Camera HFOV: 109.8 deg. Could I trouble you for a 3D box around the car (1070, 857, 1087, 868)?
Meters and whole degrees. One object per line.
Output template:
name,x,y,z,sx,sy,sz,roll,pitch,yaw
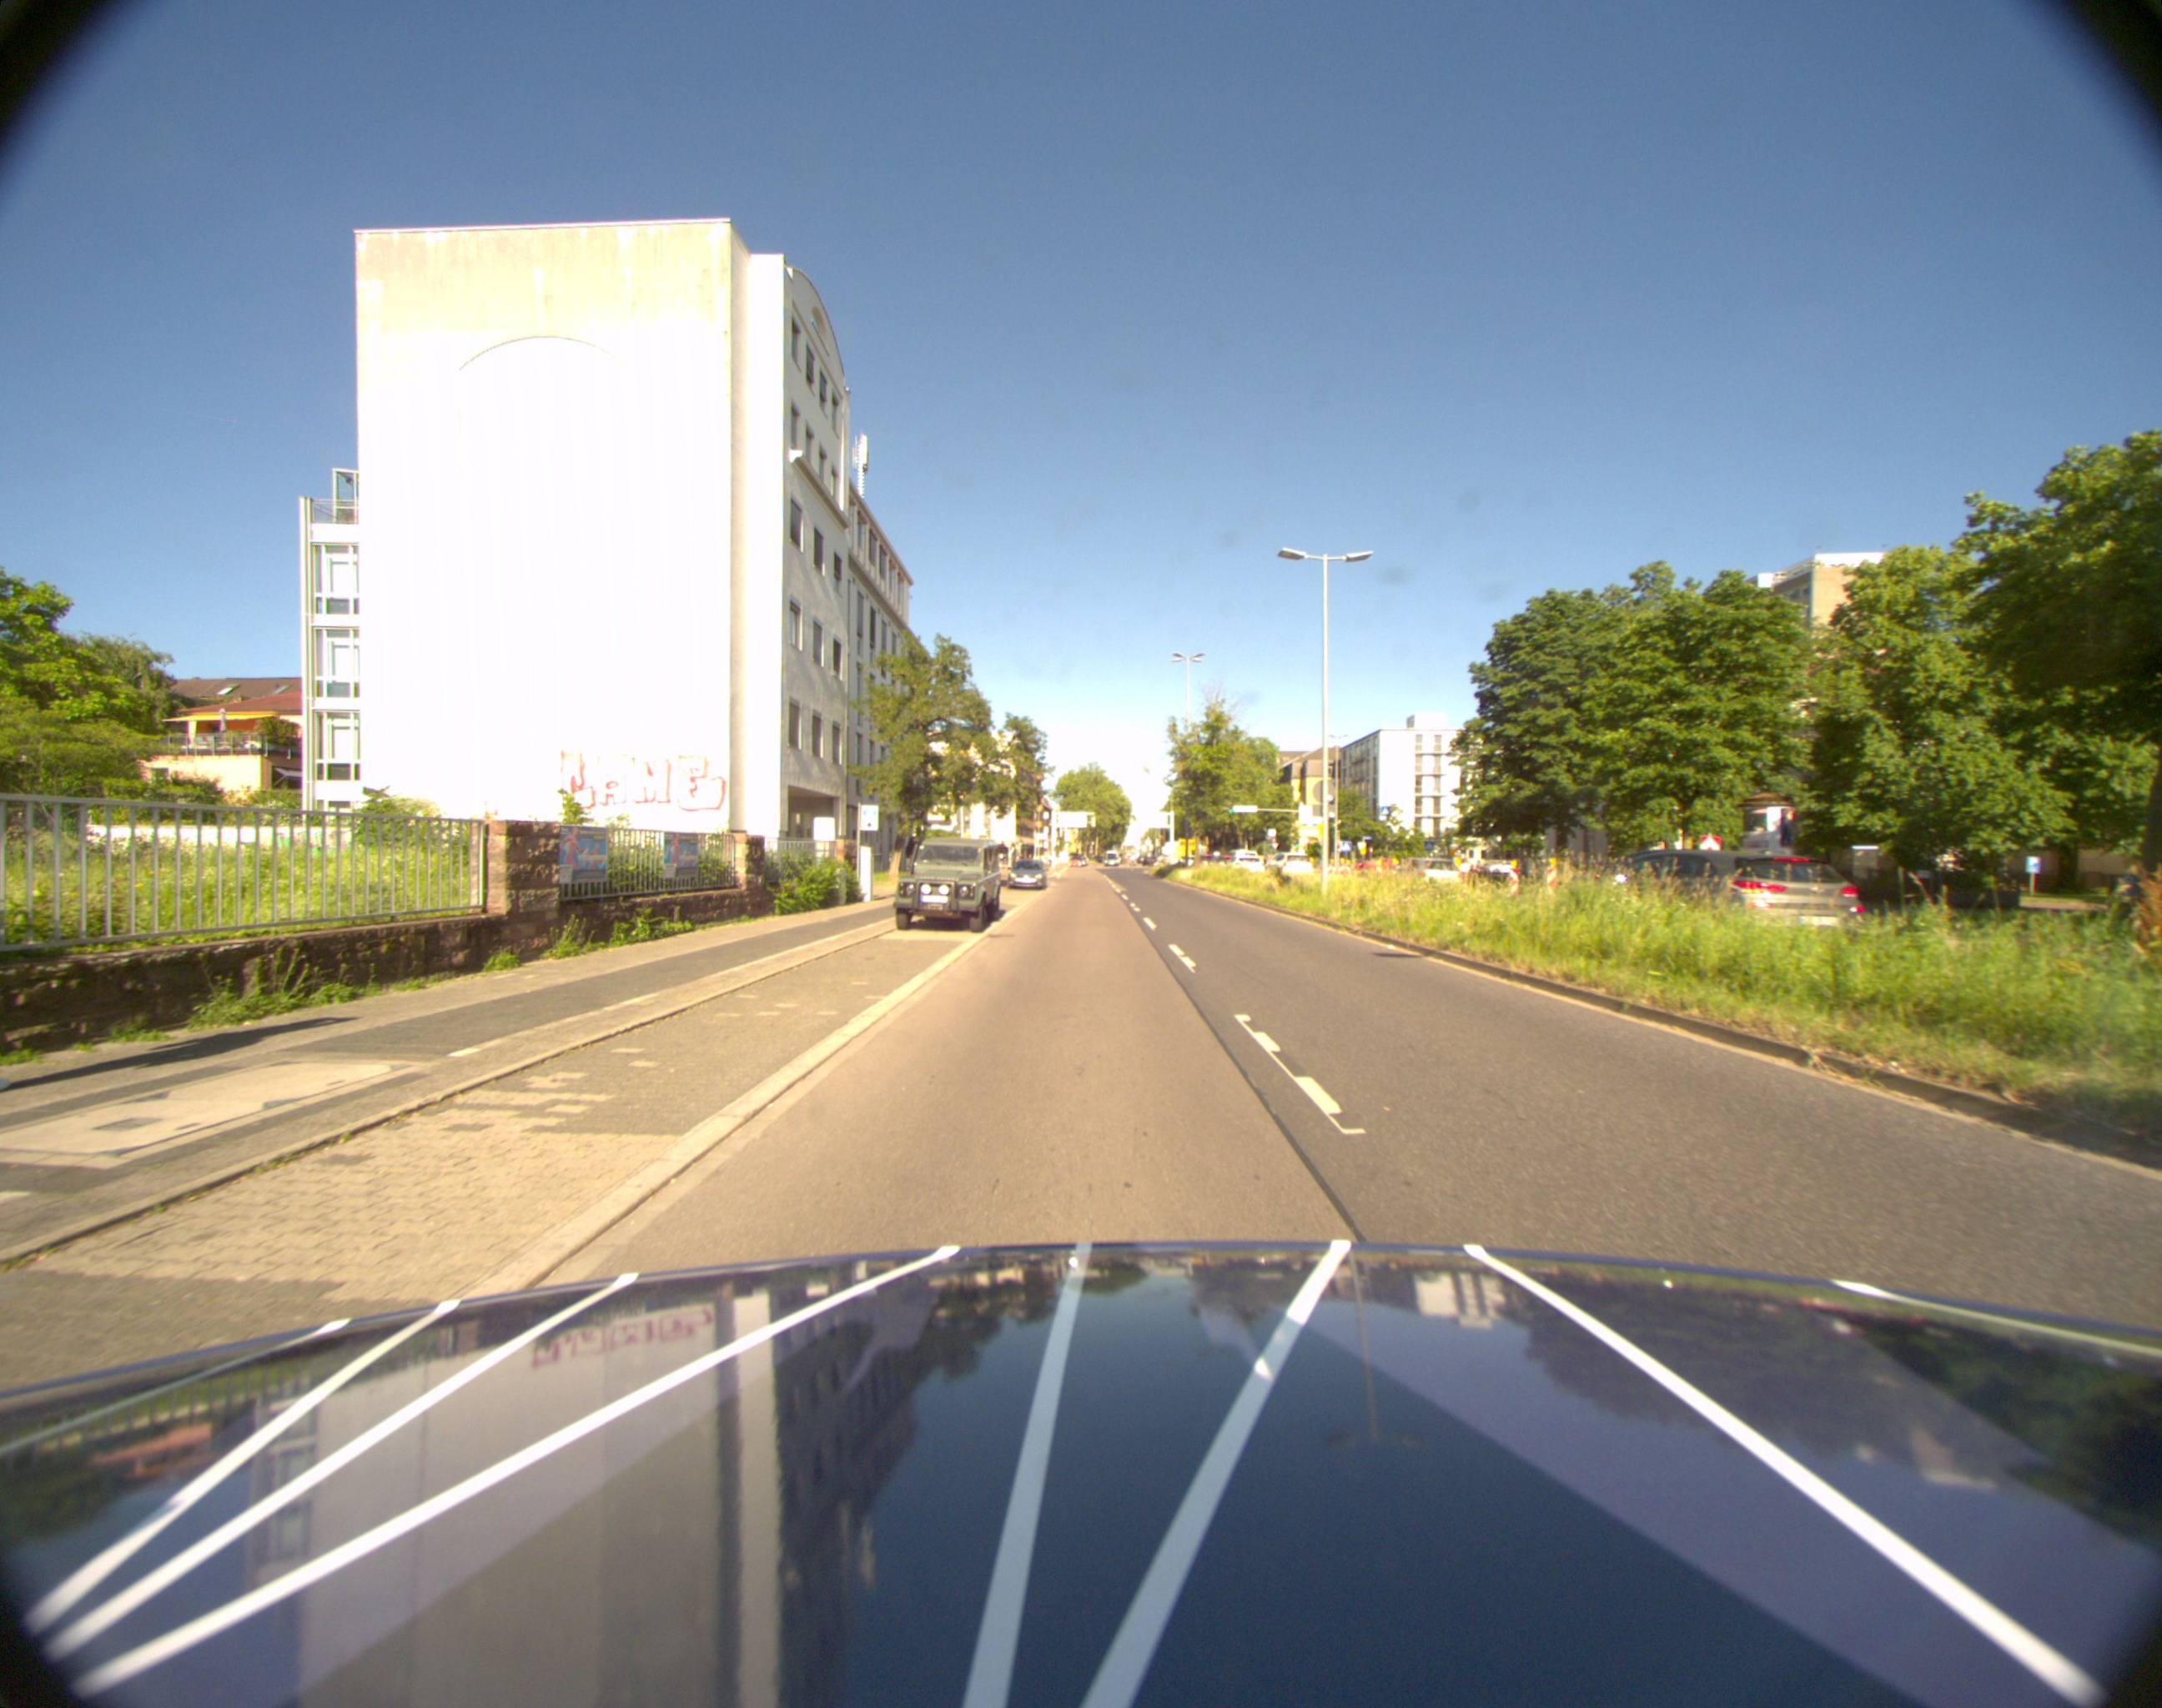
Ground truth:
car,-0.313,1.191,105.626,1.882,1.510,4.002,-1,1,8

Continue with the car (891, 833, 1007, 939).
car,-2.792,0.590,17.069,1.664,2.002,4.776,1,1,1

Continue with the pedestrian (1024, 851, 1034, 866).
pedestrian,-5.581,0.504,81.997,0.897,1.614,0.721,0,4,11

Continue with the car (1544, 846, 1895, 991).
car,9.299,0.796,11.674,1.757,1.609,4.321,-1,3,1

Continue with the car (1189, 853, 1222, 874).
car,9.556,0.703,58.550,1.800,1.510,4.346,-1,1,0

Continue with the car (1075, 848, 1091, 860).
car,0.344,0.000,114.207,1.882,1.511,4.000,-1,3,8

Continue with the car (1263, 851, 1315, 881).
car,12.723,0.670,46.704,1.800,1.733,5.031,0,0,0

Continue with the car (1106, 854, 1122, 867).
car,4.691,0.878,107.667,1.882,1.511,4.000,-1,3,8

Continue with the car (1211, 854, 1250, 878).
car,10.122,0.796,51.739,1.800,1.510,4.363,-1,0,0

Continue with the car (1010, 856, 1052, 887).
car,-2.438,0.877,38.099,1.642,1.439,4.157,0,-1,3

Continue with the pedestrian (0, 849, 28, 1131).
pedestrian,-6.402,0.758,3.895,0.745,1.574,0.897,1,1,1

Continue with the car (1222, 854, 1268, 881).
car,9.571,0.738,44.545,1.800,1.510,4.205,0,0,0

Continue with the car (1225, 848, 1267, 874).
car,13.124,0.511,60.707,2.239,2.016,5.017,0,1,0

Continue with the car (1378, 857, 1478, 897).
car,12.919,0.798,28.592,1.800,1.344,4.258,0,0,0

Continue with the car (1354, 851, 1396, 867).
car,32.362,0.560,83.657,3.994,1.609,1.919,0,3,10

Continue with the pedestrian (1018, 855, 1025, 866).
pedestrian,-6.445,0.716,82.165,0.647,1.196,0.526,0,4,11

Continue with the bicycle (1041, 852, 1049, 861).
bicycle,-4.720,0.347,99.343,0.867,0.985,1.900,-1,3,-6

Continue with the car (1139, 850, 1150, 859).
car,11.787,0.080,141.498,1.861,1.576,4.278,0,0,2

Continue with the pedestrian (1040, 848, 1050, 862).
pedestrian,-4.293,0.155,90.895,0.788,1.599,0.927,-3,4,-33
